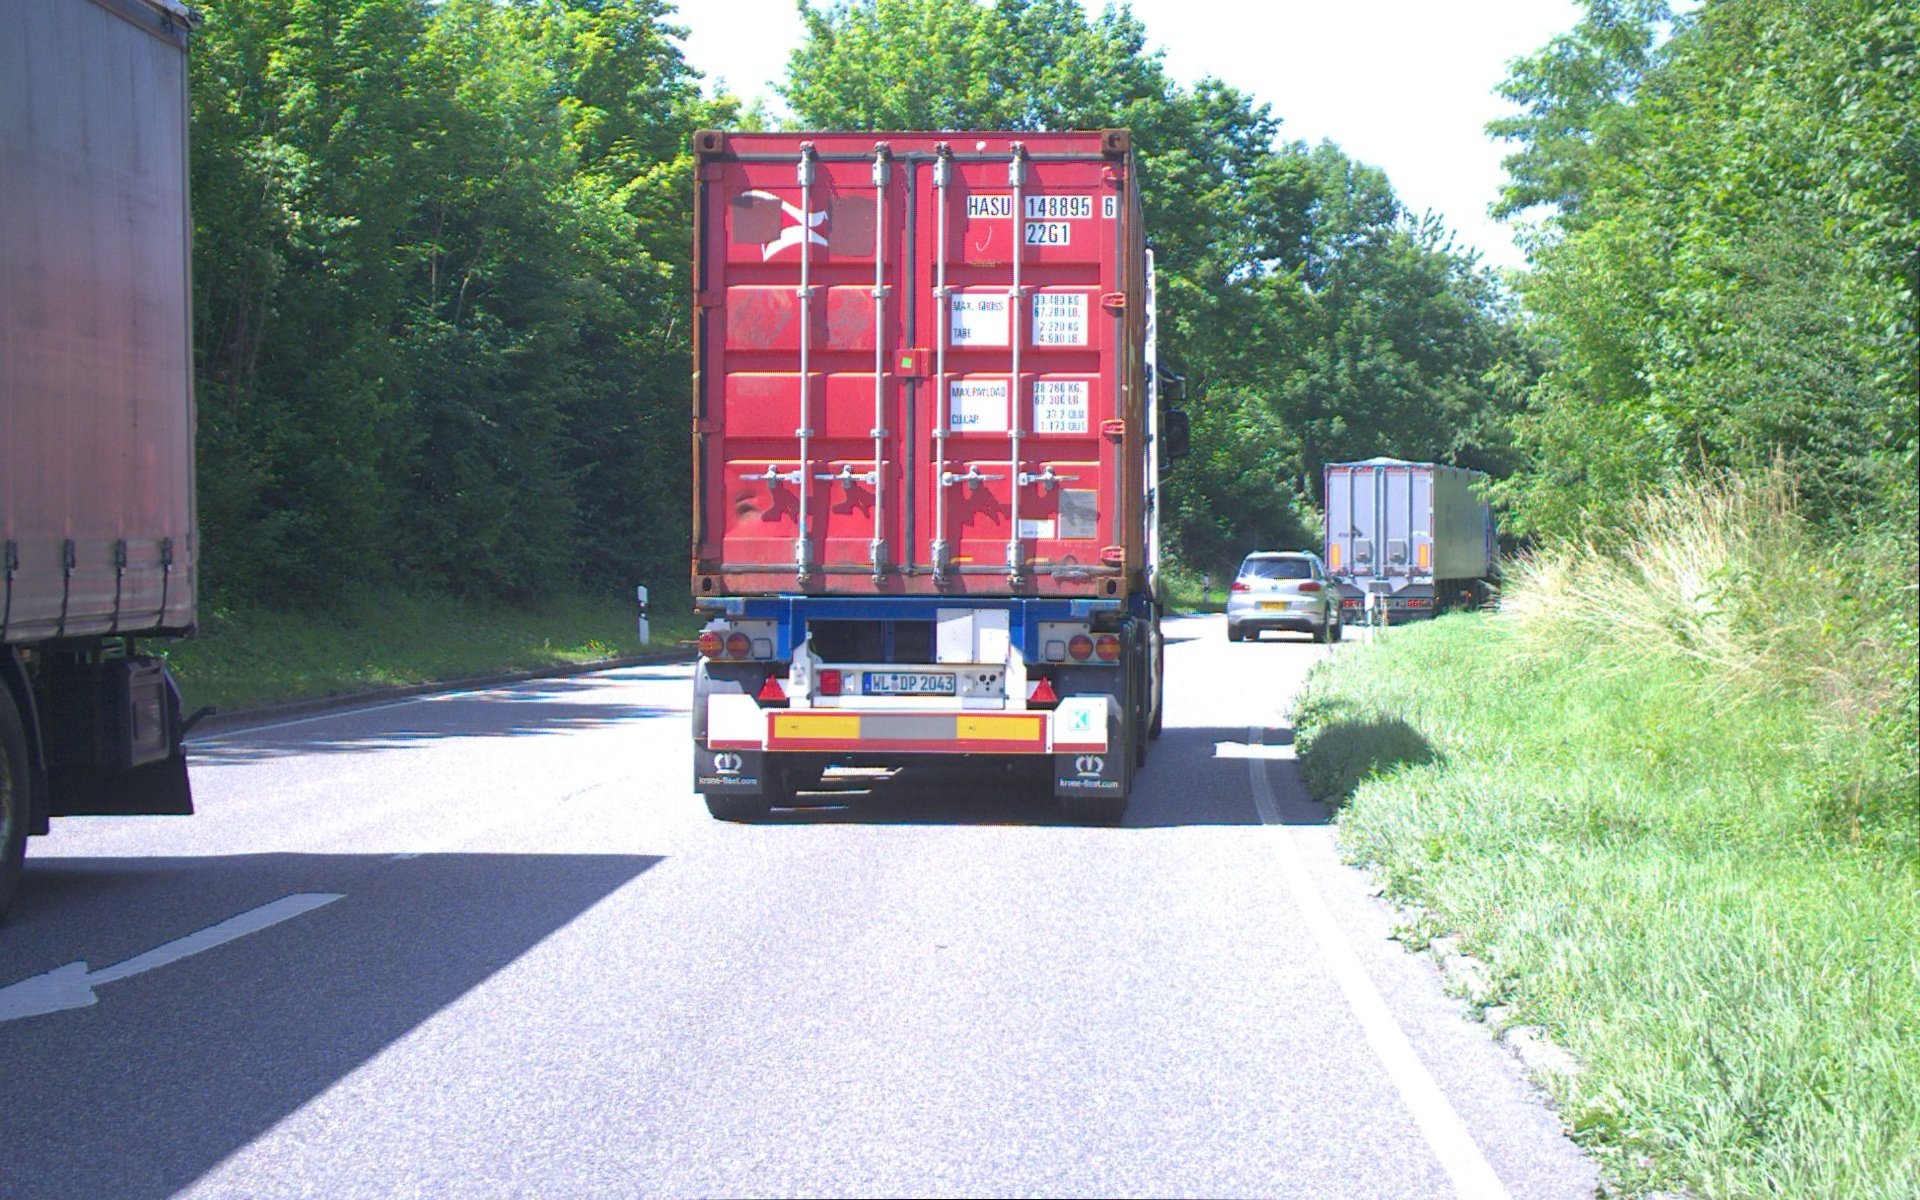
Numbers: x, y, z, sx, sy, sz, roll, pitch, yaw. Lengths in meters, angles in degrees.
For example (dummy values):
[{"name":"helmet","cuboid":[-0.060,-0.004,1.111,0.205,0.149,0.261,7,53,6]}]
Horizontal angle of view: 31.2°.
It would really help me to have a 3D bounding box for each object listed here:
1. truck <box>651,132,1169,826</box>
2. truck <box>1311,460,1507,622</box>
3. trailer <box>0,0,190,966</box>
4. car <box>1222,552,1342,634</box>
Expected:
[{"name":"truck","cuboid":[0.123,-0.710,25.578,2.648,3.793,13.357,1,0,4]},{"name":"truck","cuboid":[11.475,-1.432,86.547,2.924,3.704,13.349,-2,0,16]},{"name":"trailer","cuboid":[-5.183,-0.702,9.970,2.922,4.168,11.263,1,0,2]},{"name":"car","cuboid":[6.023,-0.137,64.048,1.833,1.428,3.998,-2,0,11]}]
